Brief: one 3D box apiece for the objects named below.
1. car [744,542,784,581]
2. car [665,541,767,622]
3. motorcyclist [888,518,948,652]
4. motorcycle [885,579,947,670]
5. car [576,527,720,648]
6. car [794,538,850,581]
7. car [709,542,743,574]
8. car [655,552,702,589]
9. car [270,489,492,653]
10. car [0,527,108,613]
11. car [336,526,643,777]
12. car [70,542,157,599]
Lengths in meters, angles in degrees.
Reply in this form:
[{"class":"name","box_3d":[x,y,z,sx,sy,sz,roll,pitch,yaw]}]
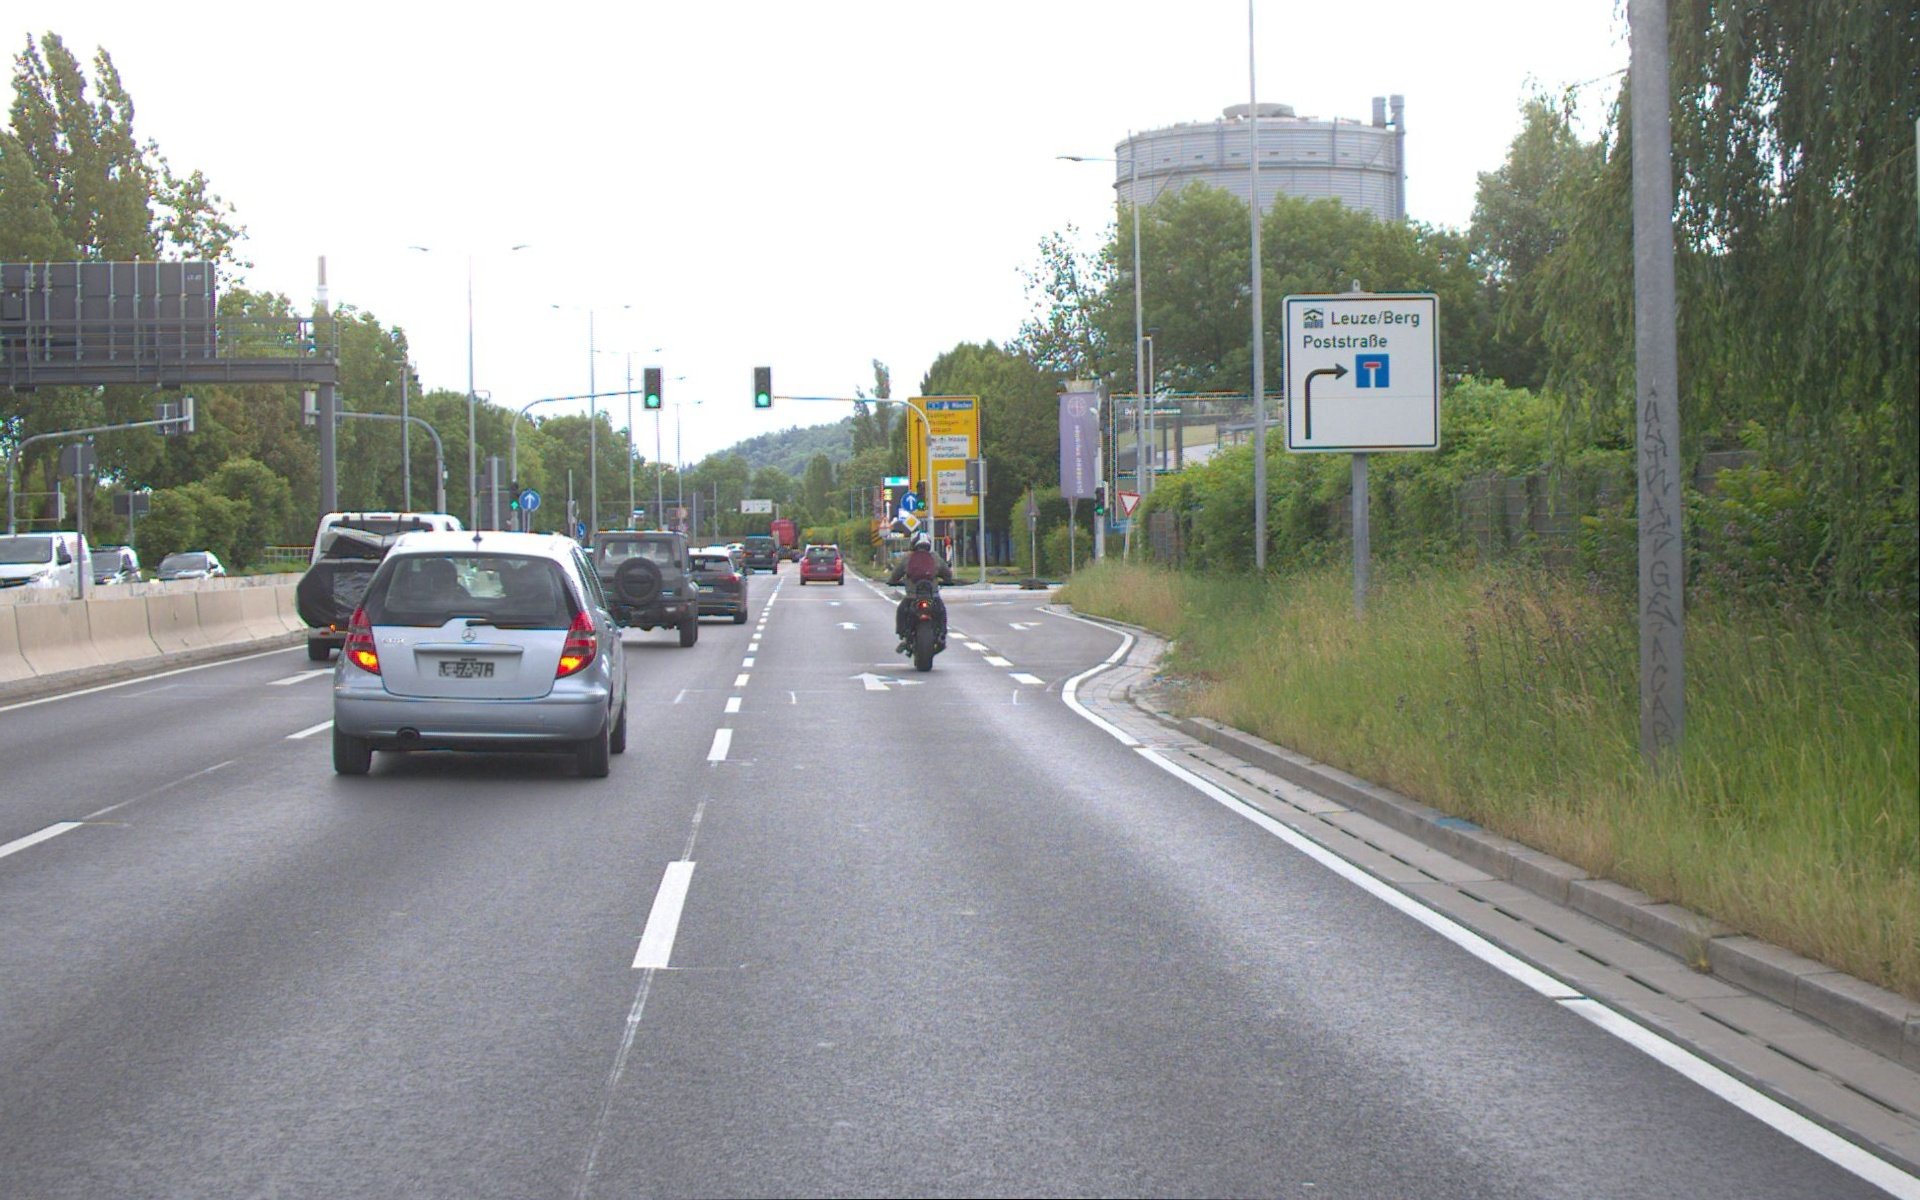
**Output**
[{"class":"car","box_3d":[-10.444,-2.065,183.210,1.993,2.007,4.001,1,1,-2]},{"class":"car","box_3d":[-4.678,-0.386,66.352,1.840,1.459,4.001,1,1,-3]},{"class":"motorcyclist","box_3d":[-0.517,-0.190,41.815,0.684,1.604,0.845,1,1,-1]},{"class":"motorcycle","box_3d":[-0.537,0.281,41.886,0.706,1.036,2.027,1,1,-1]},{"class":"car","box_3d":[-4.601,-0.217,51.151,1.907,1.678,4.001,1,1,-2]},{"class":"car","box_3d":[-5.250,-1.539,130.488,1.993,1.546,4.001,1,1,-4]},{"class":"car","box_3d":[-14.943,-2.696,219.724,1.993,2.007,4.001,1,1,-2]},{"class":"car","box_3d":[-12.631,-1.340,154.474,1.993,1.546,4.001,1,1,-4]},{"class":"car","box_3d":[-7.322,-0.404,43.953,2.214,1.919,5.003,1,1,-3]},{"class":"car","box_3d":[-18.116,-0.612,66.645,1.993,1.554,4.886,1,1,0]},{"class":"car","box_3d":[-3.109,0.280,23.364,1.710,1.525,4.001,1,1,-3]},{"class":"car","box_3d":[-26.339,-0.921,107.122,1.877,1.677,3.928,1,1,-3]}]
